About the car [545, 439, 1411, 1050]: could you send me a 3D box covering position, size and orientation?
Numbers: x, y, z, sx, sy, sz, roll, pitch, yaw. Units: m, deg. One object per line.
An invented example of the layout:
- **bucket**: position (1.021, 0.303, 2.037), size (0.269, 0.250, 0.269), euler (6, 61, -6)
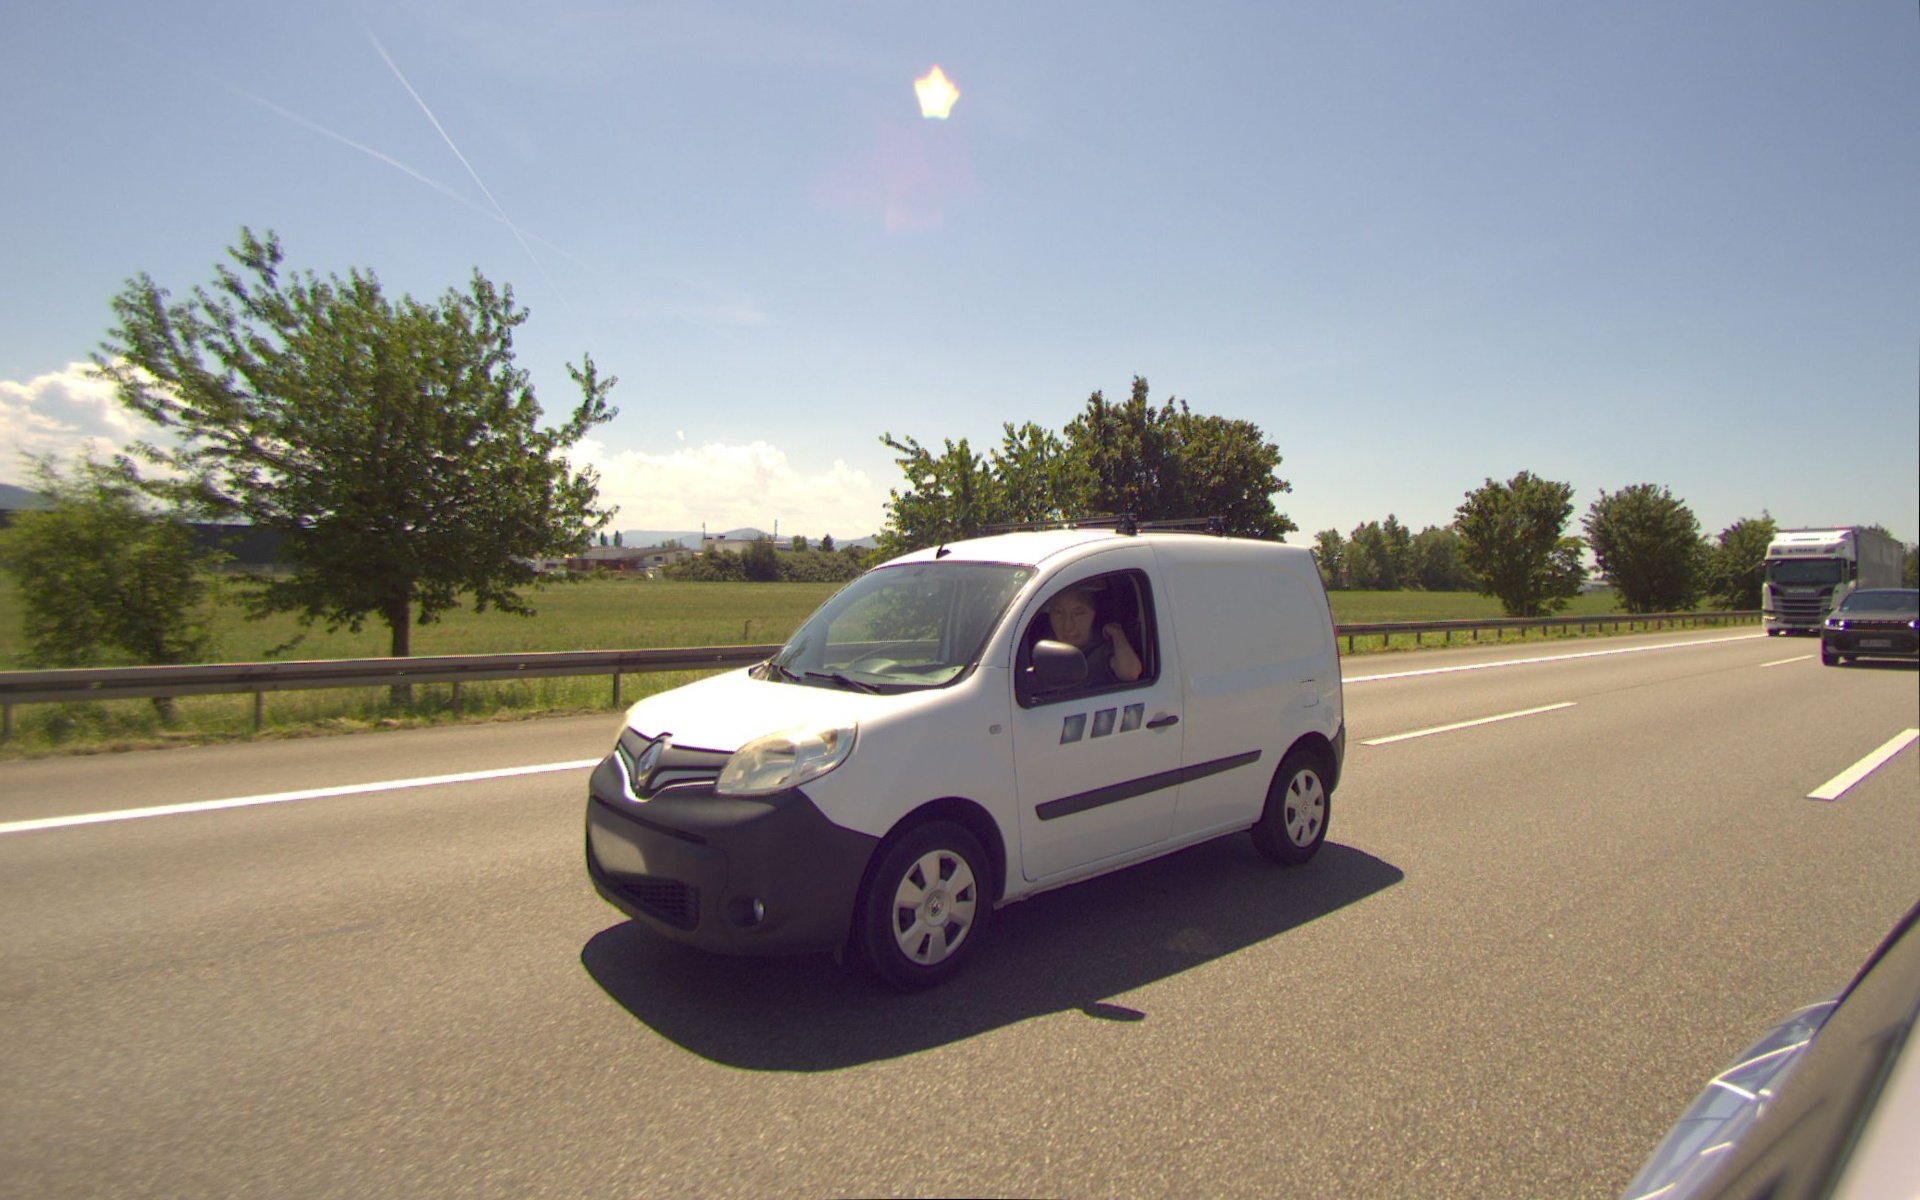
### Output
- **car**: position (0.466, 0.431, 5.385), size (4.622, 1.886, 1.855), euler (0, 0, -42)

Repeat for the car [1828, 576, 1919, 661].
- **car**: position (20.665, 0.358, 22.096), size (4.661, 1.696, 1.871), euler (0, 0, -40)

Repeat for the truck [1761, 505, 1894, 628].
- **truck**: position (33.694, -1.220, 39.209), size (7.066, 4.359, 2.815), euler (0, 0, -40)

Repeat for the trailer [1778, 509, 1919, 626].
- **trailer**: position (38.410, -1.257, 43.215), size (14.002, 4.359, 2.815), euler (0, 0, -40)
